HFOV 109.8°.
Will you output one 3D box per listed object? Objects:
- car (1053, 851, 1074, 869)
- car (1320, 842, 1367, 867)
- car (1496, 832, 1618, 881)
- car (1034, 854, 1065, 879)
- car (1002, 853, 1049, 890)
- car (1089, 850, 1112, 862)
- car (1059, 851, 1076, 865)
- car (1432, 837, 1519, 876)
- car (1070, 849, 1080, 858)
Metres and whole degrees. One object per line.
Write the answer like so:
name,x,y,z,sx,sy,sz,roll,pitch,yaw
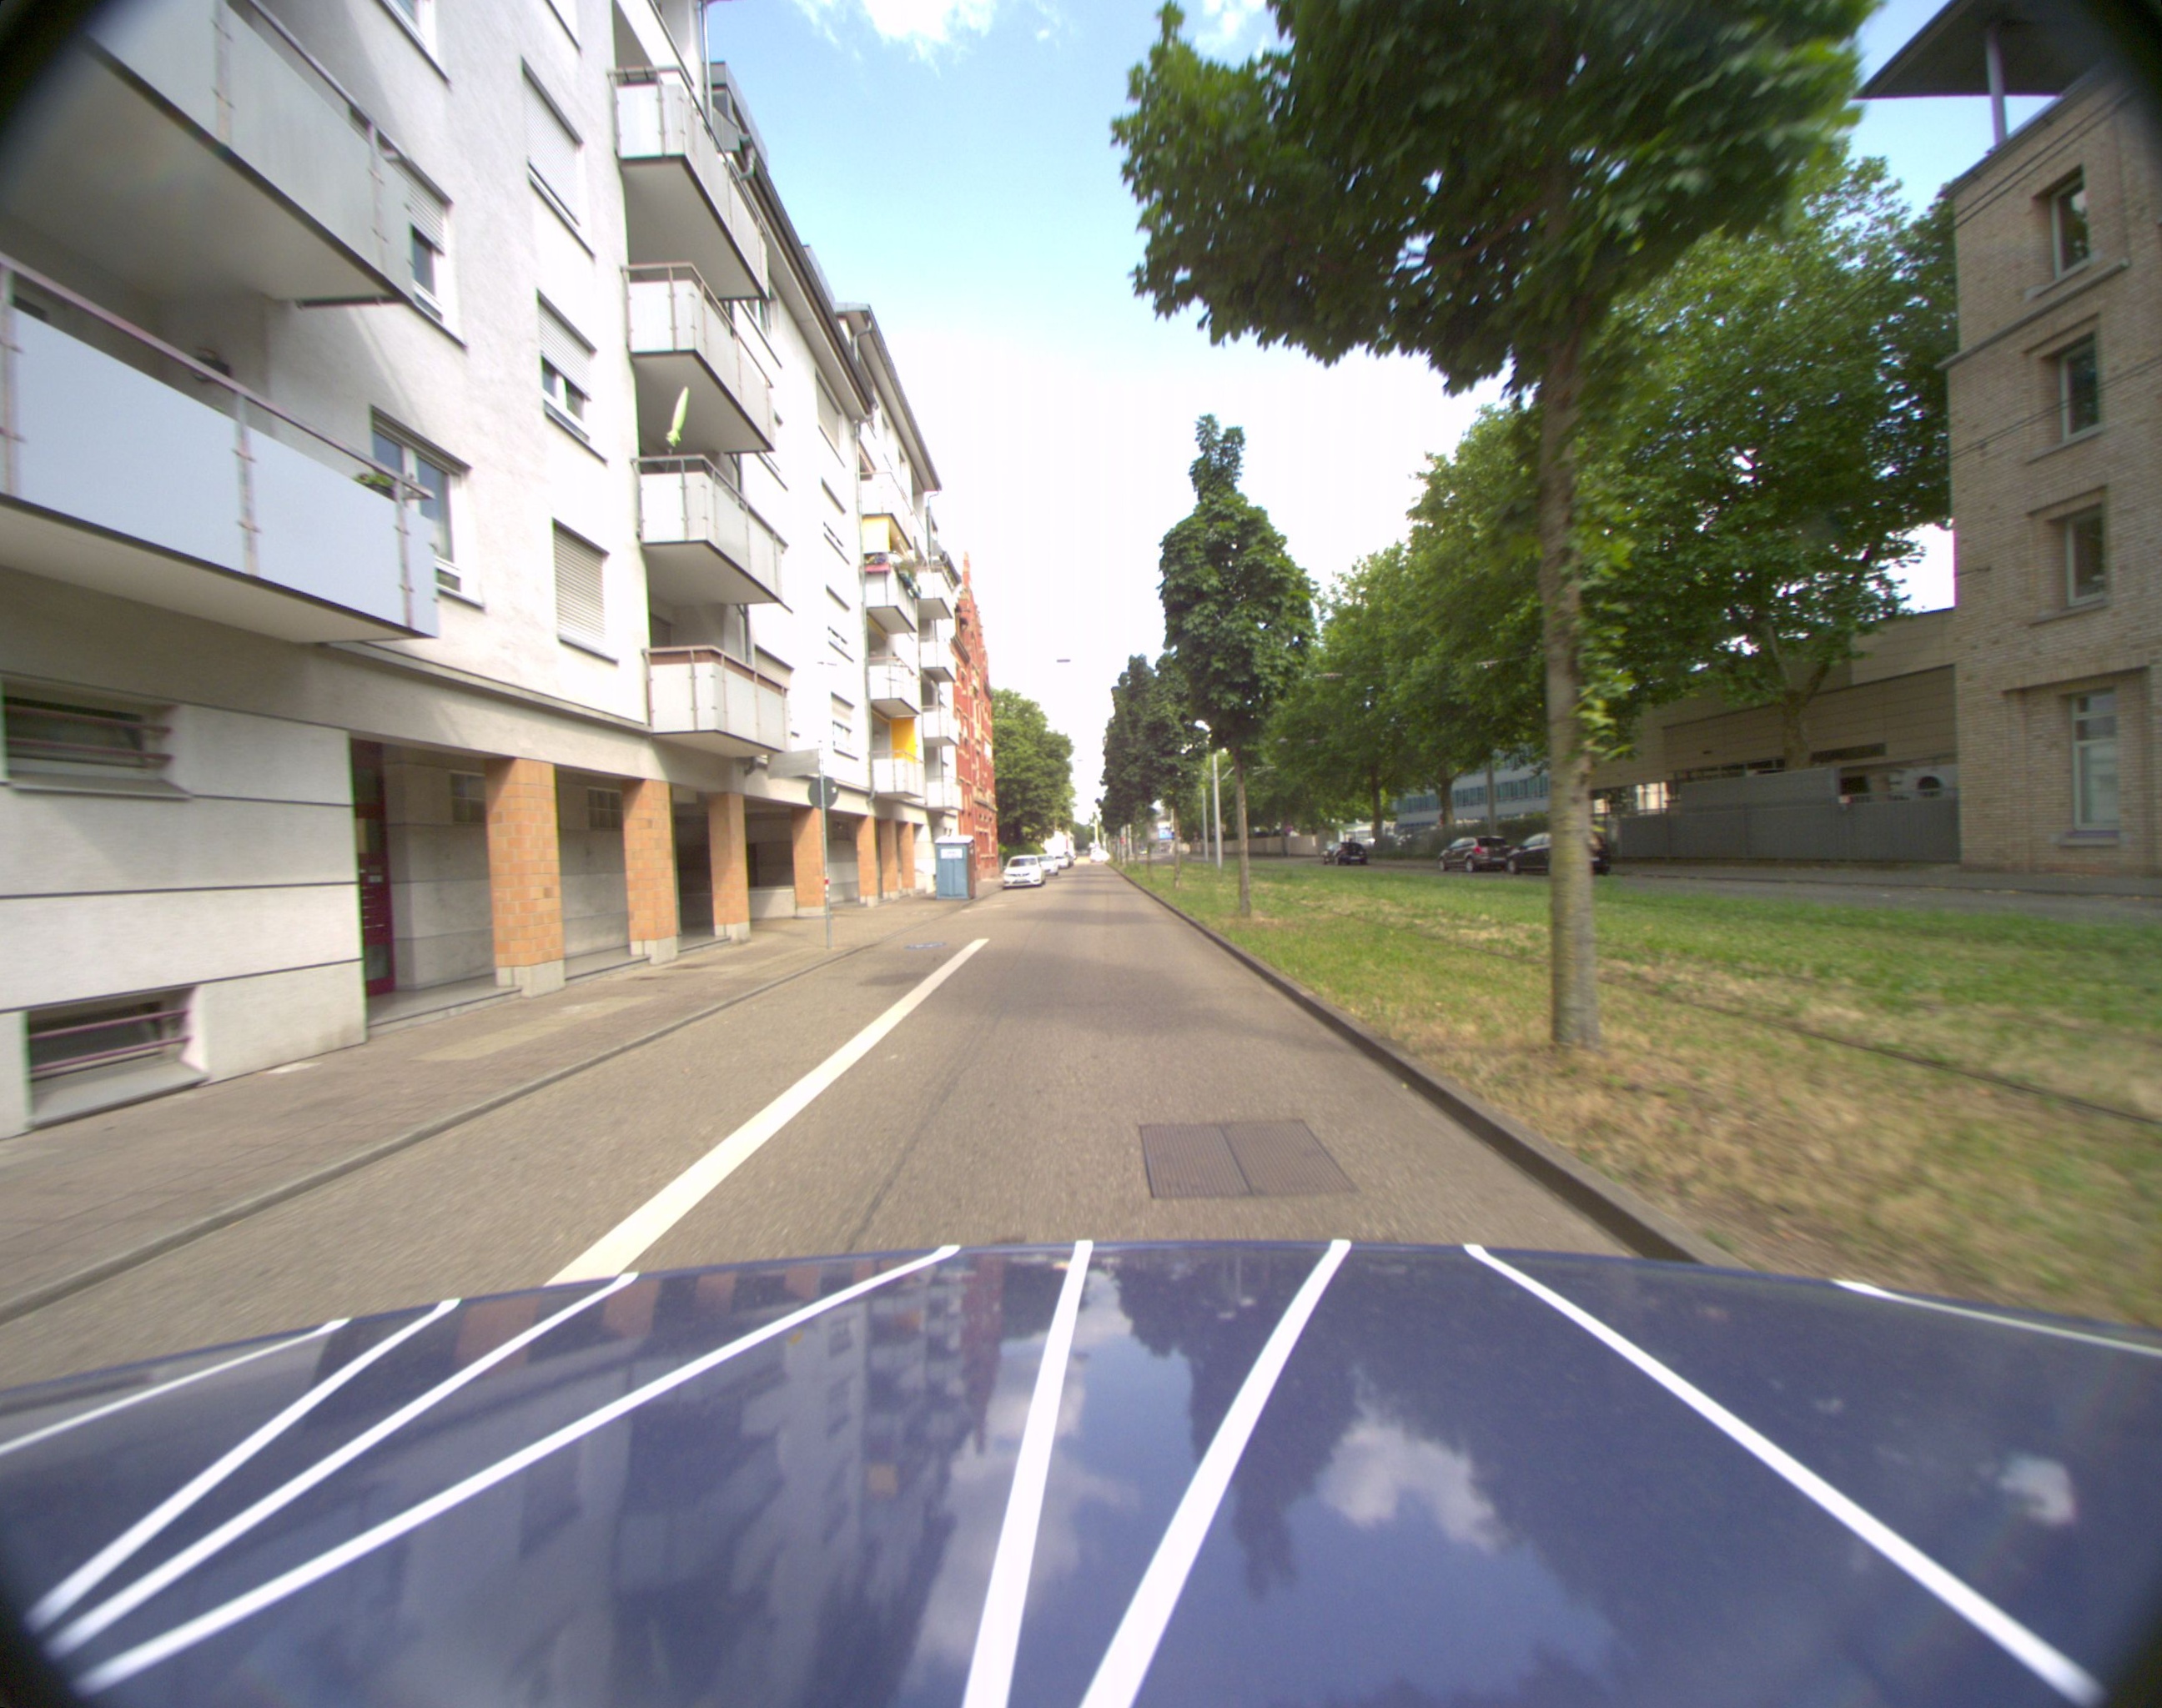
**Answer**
car,-1.658,0.526,73.897,1.801,1.521,4.040,-5,0,1
car,16.220,0.015,47.111,1.601,1.455,4.000,-3,1,3
car,15.994,0.052,25.808,1.807,1.444,4.001,-3,1,4
car,-2.123,0.802,52.308,1.801,1.521,4.040,-4,0,1
car,-2.590,0.771,36.153,1.801,1.521,4.041,-3,0,1
car,2.819,0.262,107.897,1.798,1.521,4.046,-3,1,24
car,-1.579,0.468,91.199,1.801,1.521,4.040,-5,0,1
car,16.124,0.078,31.291,1.558,1.417,3.901,-3,1,1
car,-1.115,-0.053,149.454,1.801,1.521,4.040,-5,0,1
